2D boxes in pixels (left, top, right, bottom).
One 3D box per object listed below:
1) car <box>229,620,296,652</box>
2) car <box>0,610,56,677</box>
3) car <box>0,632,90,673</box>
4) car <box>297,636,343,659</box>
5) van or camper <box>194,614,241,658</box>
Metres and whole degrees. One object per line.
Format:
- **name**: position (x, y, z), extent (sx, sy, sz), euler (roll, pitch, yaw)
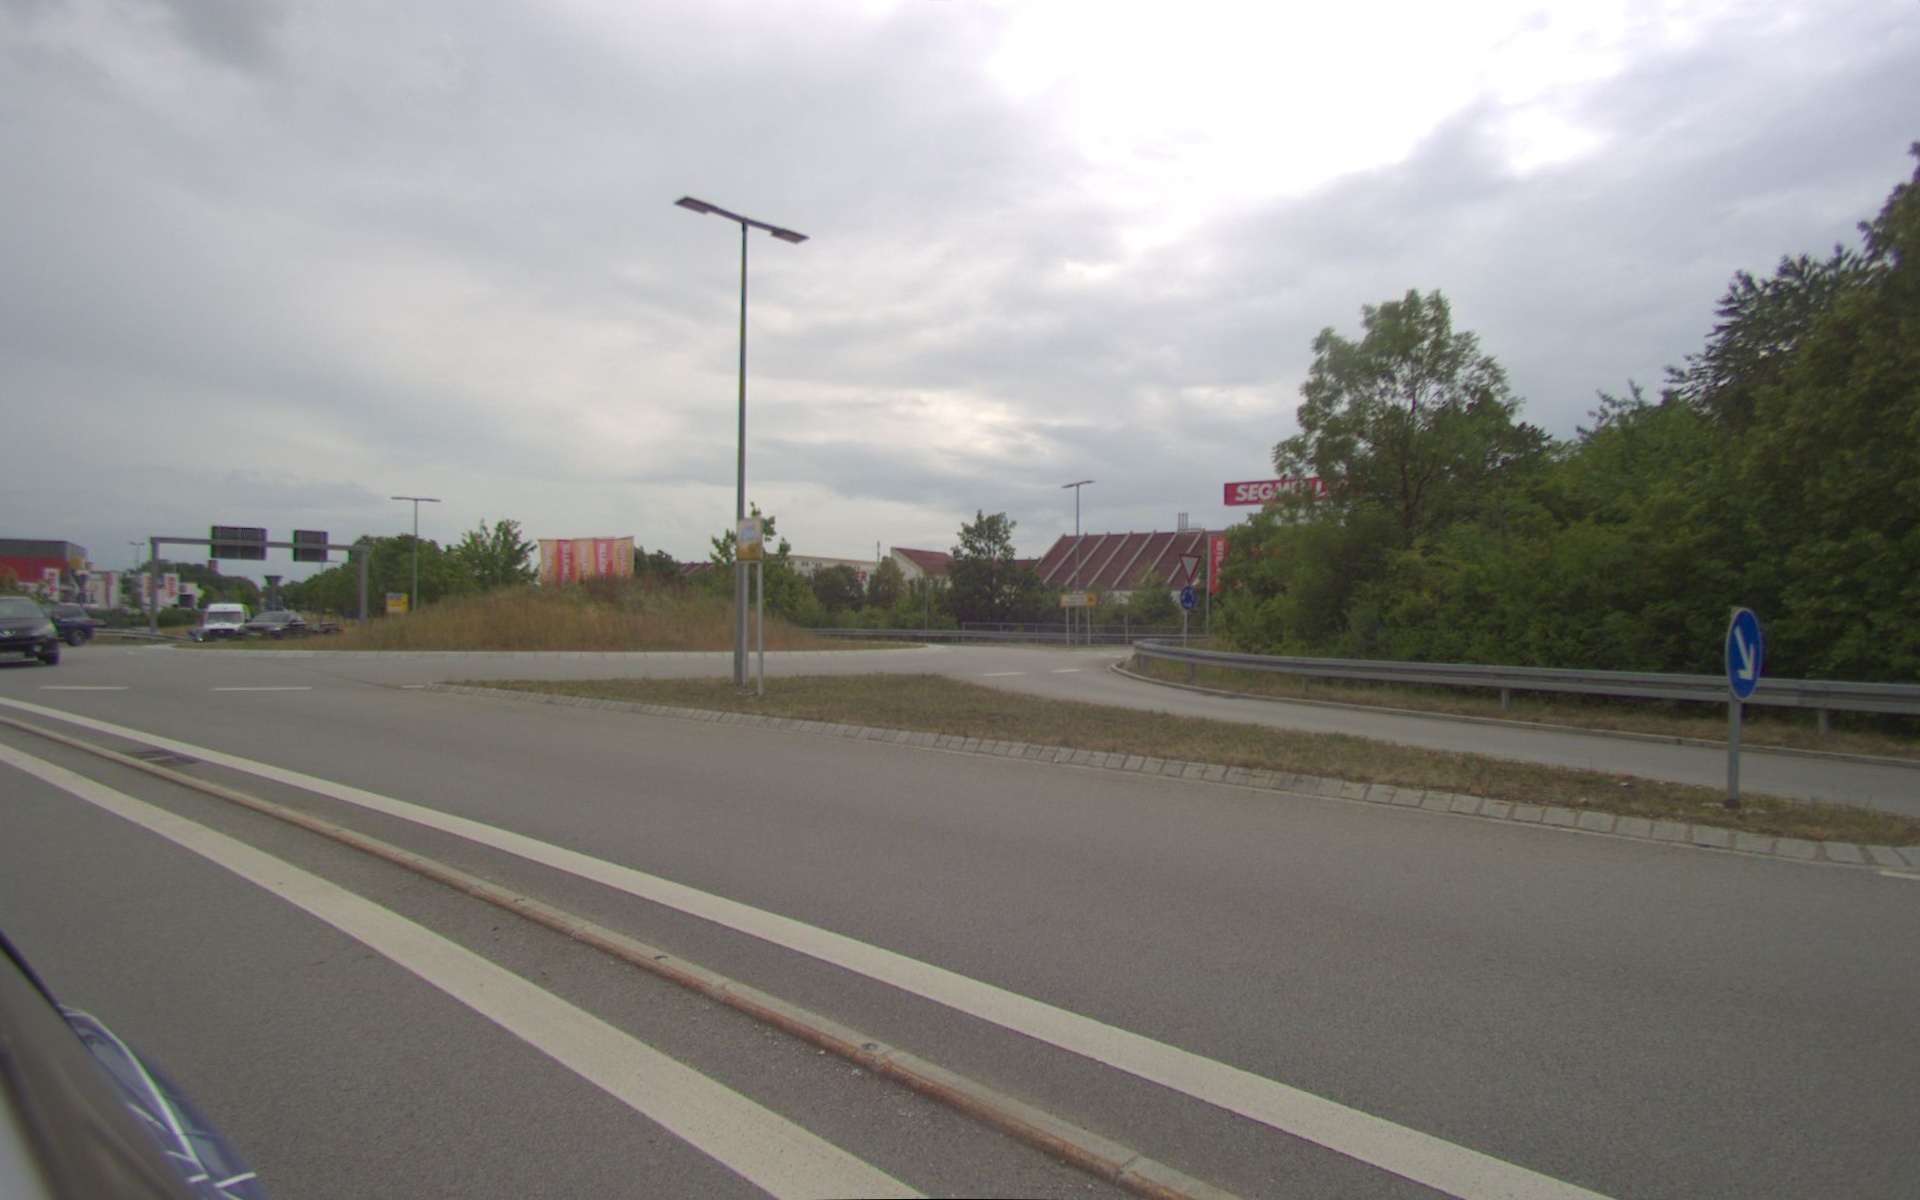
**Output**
- **car**: position (-29.486, 1.496, 42.866), extent (1.553, 1.278, 3.325), euler (0, 0, -21)
- **car**: position (-20.992, 0.945, 21.740), extent (3.815, 1.364, 1.562), euler (-2, -2, 36)
- **car**: position (-36.451, 2.012, 39.162), extent (1.833, 1.422, 4.561), euler (0, 0, -3)
- **car**: position (-58.553, 4.306, 92.532), extent (5.047, 1.804, 2.077), euler (1, -1, 40)
- **van or camper**: position (-43.614, 2.058, 59.502), extent (2.019, 2.382, 5.555), euler (0, 0, -34)
